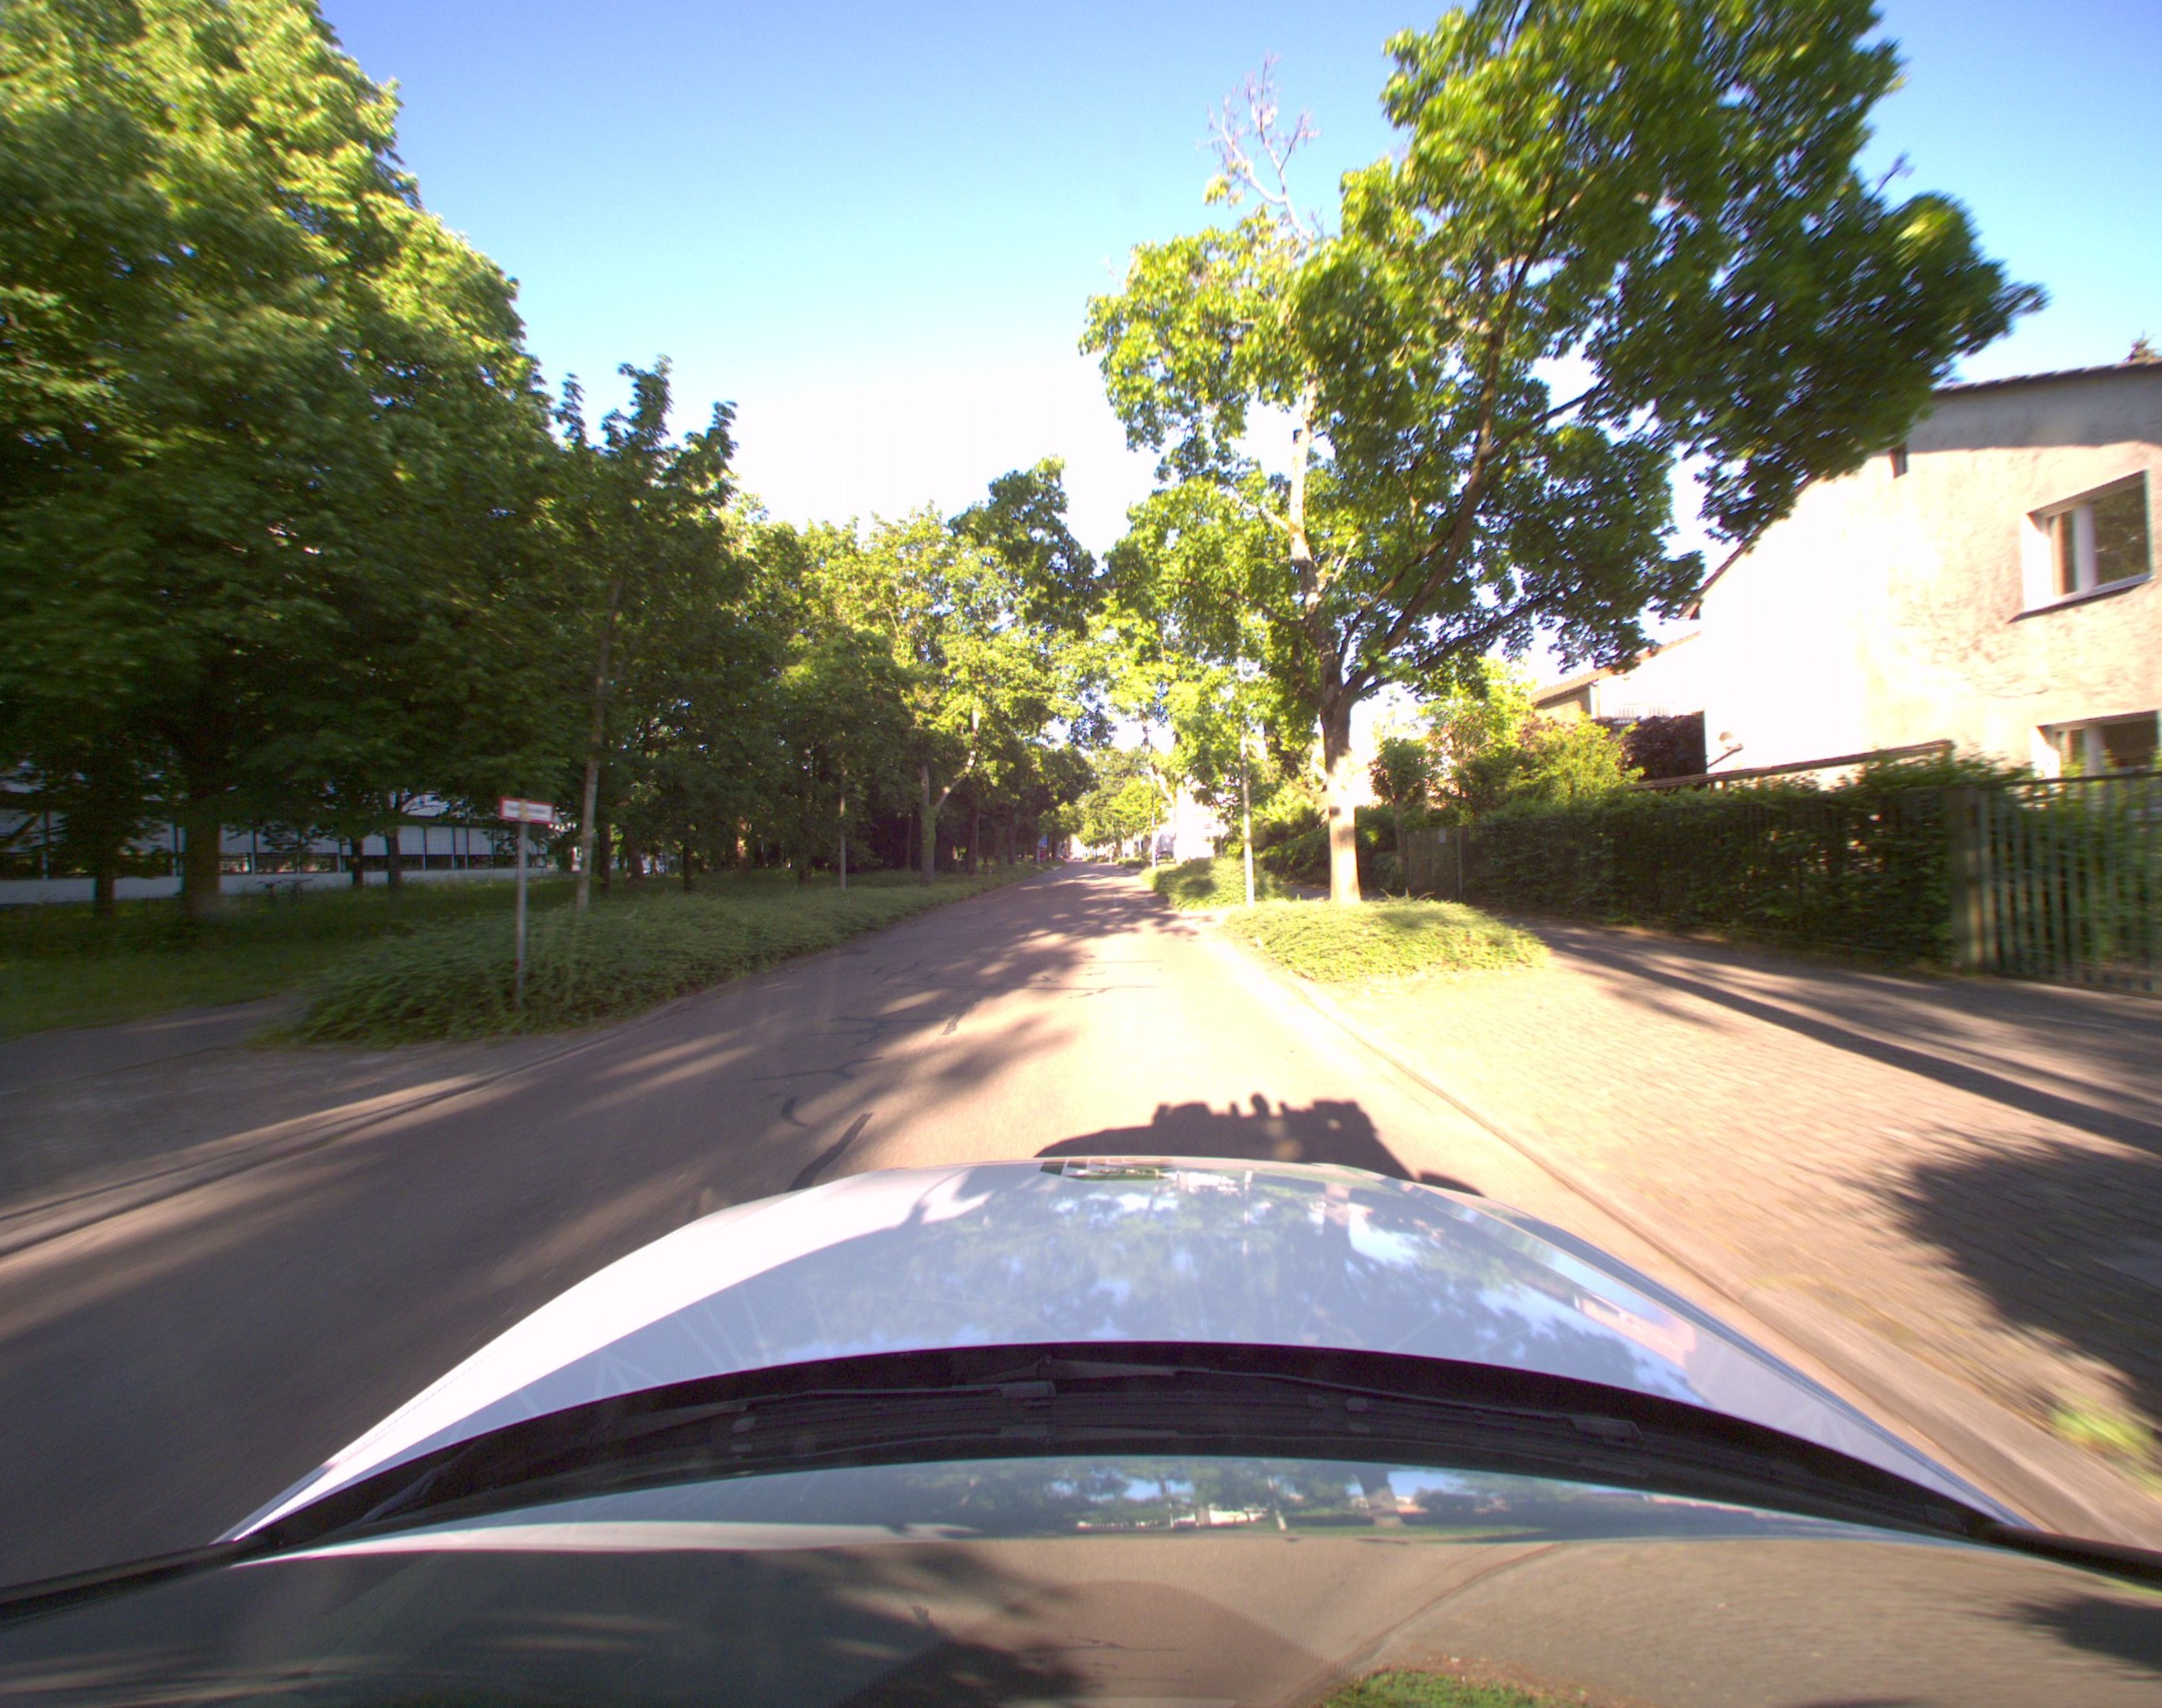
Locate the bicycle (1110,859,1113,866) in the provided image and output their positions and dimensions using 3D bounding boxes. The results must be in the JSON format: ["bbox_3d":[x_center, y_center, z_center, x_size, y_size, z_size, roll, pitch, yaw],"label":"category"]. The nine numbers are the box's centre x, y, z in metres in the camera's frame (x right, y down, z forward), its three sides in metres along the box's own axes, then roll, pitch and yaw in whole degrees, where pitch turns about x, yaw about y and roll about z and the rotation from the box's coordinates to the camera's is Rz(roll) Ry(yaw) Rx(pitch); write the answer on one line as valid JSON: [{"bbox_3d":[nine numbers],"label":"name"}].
[{"bbox_3d":[4.162,1.138,111.706,0.437,0.978,1.662,-2,1,1],"label":"bicycle"}]

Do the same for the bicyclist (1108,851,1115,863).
[{"bbox_3d":[4.202,0.398,111.673,0.864,1.641,1.115,0,1,1],"label":"bicyclist"}]

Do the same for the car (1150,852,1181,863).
[{"bbox_3d":[12.377,0.454,119.053,4.327,1.353,2.148,2,4,7],"label":"car"}]

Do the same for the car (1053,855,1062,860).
[{"bbox_3d":[-6.814,0.947,235.244,1.992,1.354,3.530,0,0,-8],"label":"car"}]
